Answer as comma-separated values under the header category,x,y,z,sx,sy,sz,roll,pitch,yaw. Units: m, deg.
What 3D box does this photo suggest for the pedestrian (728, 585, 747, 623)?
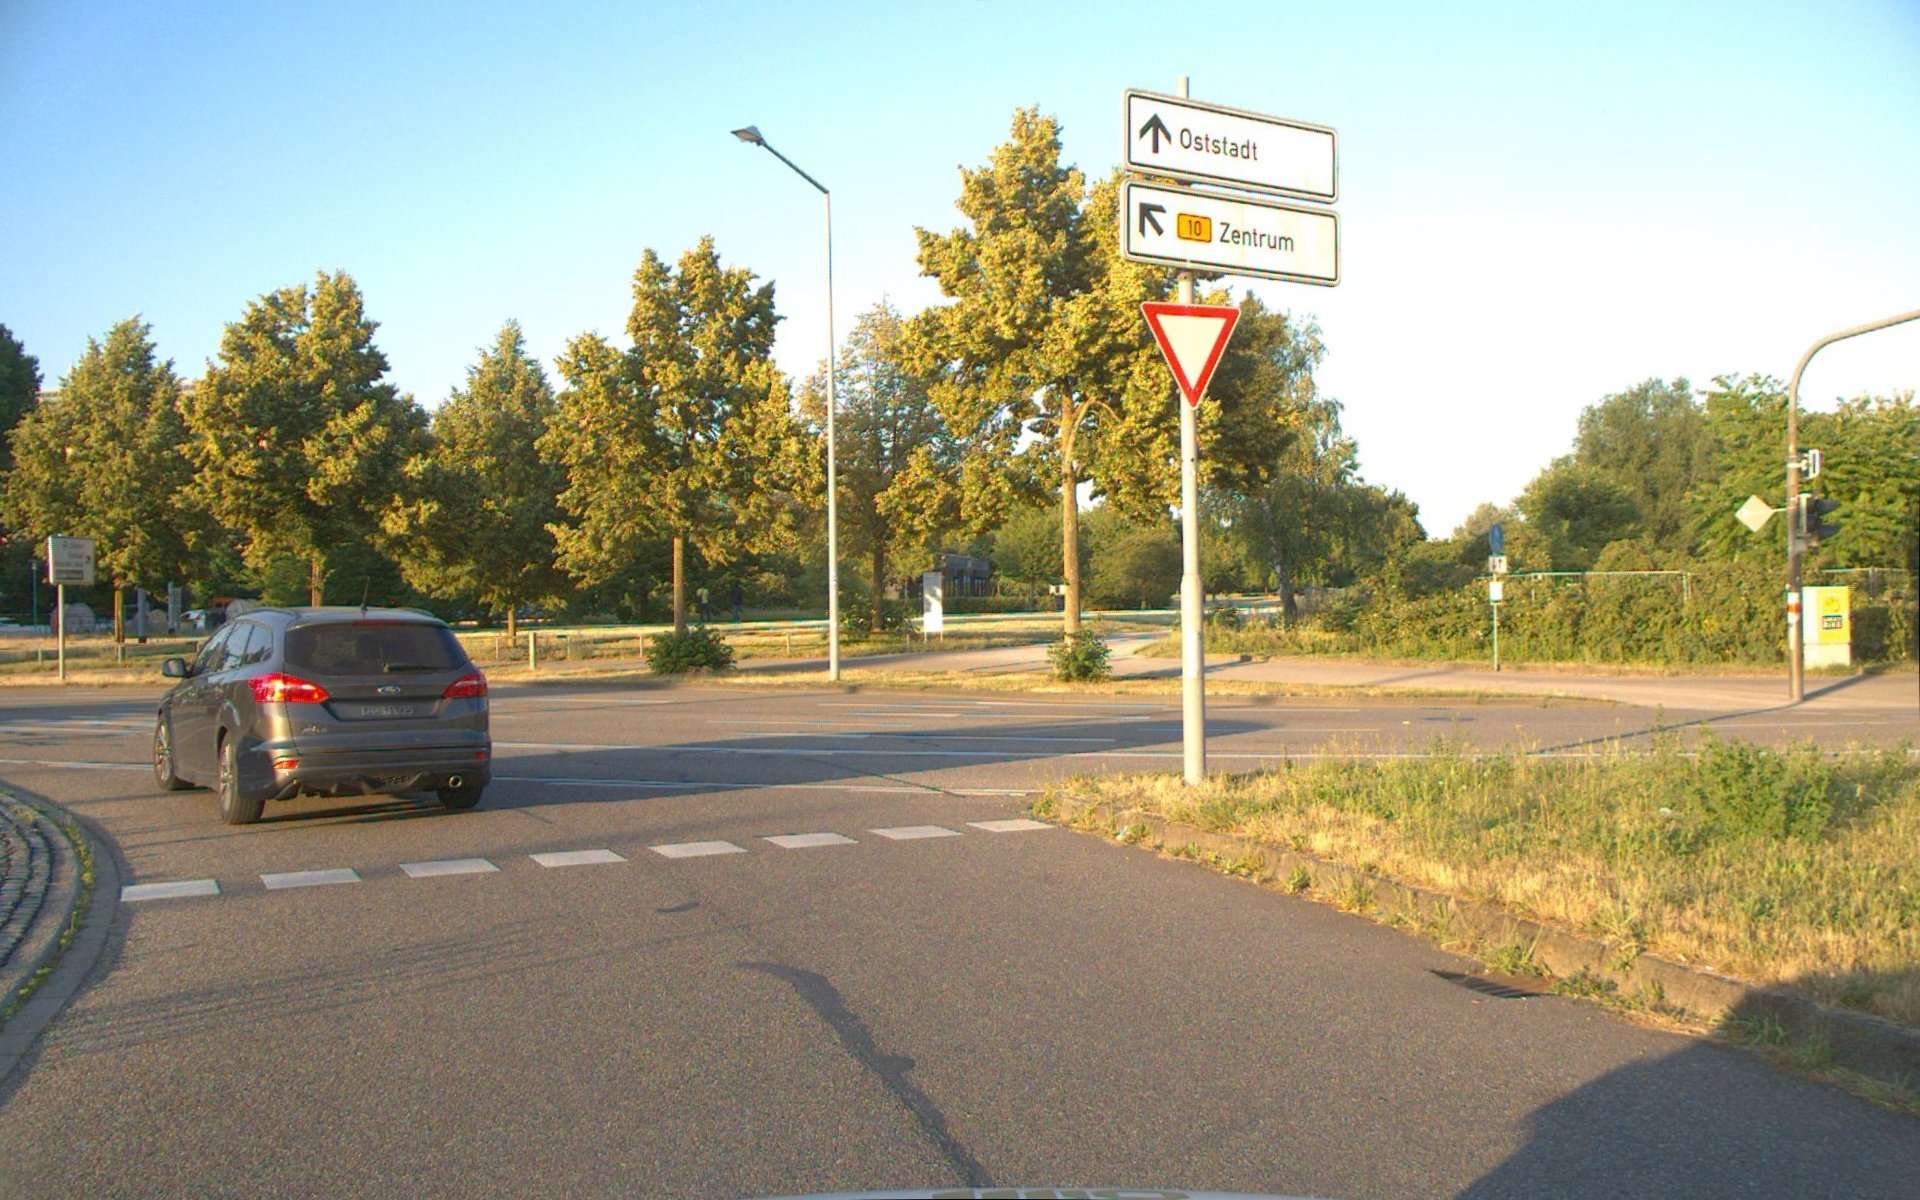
category,x,y,z,sx,sy,sz,roll,pitch,yaw
pedestrian,-9.646,0.172,71.579,0.614,1.655,0.523,-1,0,-40

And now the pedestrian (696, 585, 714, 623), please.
category,x,y,z,sx,sy,sz,roll,pitch,yaw
pedestrian,-11.067,0.181,71.776,0.575,1.655,0.525,-1,0,-39

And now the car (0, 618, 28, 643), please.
category,x,y,z,sx,sy,sz,roll,pitch,yaw
car,-63.797,1.993,108.802,3.901,1.578,2.002,-1,0,10

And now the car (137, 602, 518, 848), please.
category,x,y,z,sx,sy,sz,roll,pitch,yaw
car,-4.934,0.790,12.564,1.732,1.492,4.083,-2,1,-35
